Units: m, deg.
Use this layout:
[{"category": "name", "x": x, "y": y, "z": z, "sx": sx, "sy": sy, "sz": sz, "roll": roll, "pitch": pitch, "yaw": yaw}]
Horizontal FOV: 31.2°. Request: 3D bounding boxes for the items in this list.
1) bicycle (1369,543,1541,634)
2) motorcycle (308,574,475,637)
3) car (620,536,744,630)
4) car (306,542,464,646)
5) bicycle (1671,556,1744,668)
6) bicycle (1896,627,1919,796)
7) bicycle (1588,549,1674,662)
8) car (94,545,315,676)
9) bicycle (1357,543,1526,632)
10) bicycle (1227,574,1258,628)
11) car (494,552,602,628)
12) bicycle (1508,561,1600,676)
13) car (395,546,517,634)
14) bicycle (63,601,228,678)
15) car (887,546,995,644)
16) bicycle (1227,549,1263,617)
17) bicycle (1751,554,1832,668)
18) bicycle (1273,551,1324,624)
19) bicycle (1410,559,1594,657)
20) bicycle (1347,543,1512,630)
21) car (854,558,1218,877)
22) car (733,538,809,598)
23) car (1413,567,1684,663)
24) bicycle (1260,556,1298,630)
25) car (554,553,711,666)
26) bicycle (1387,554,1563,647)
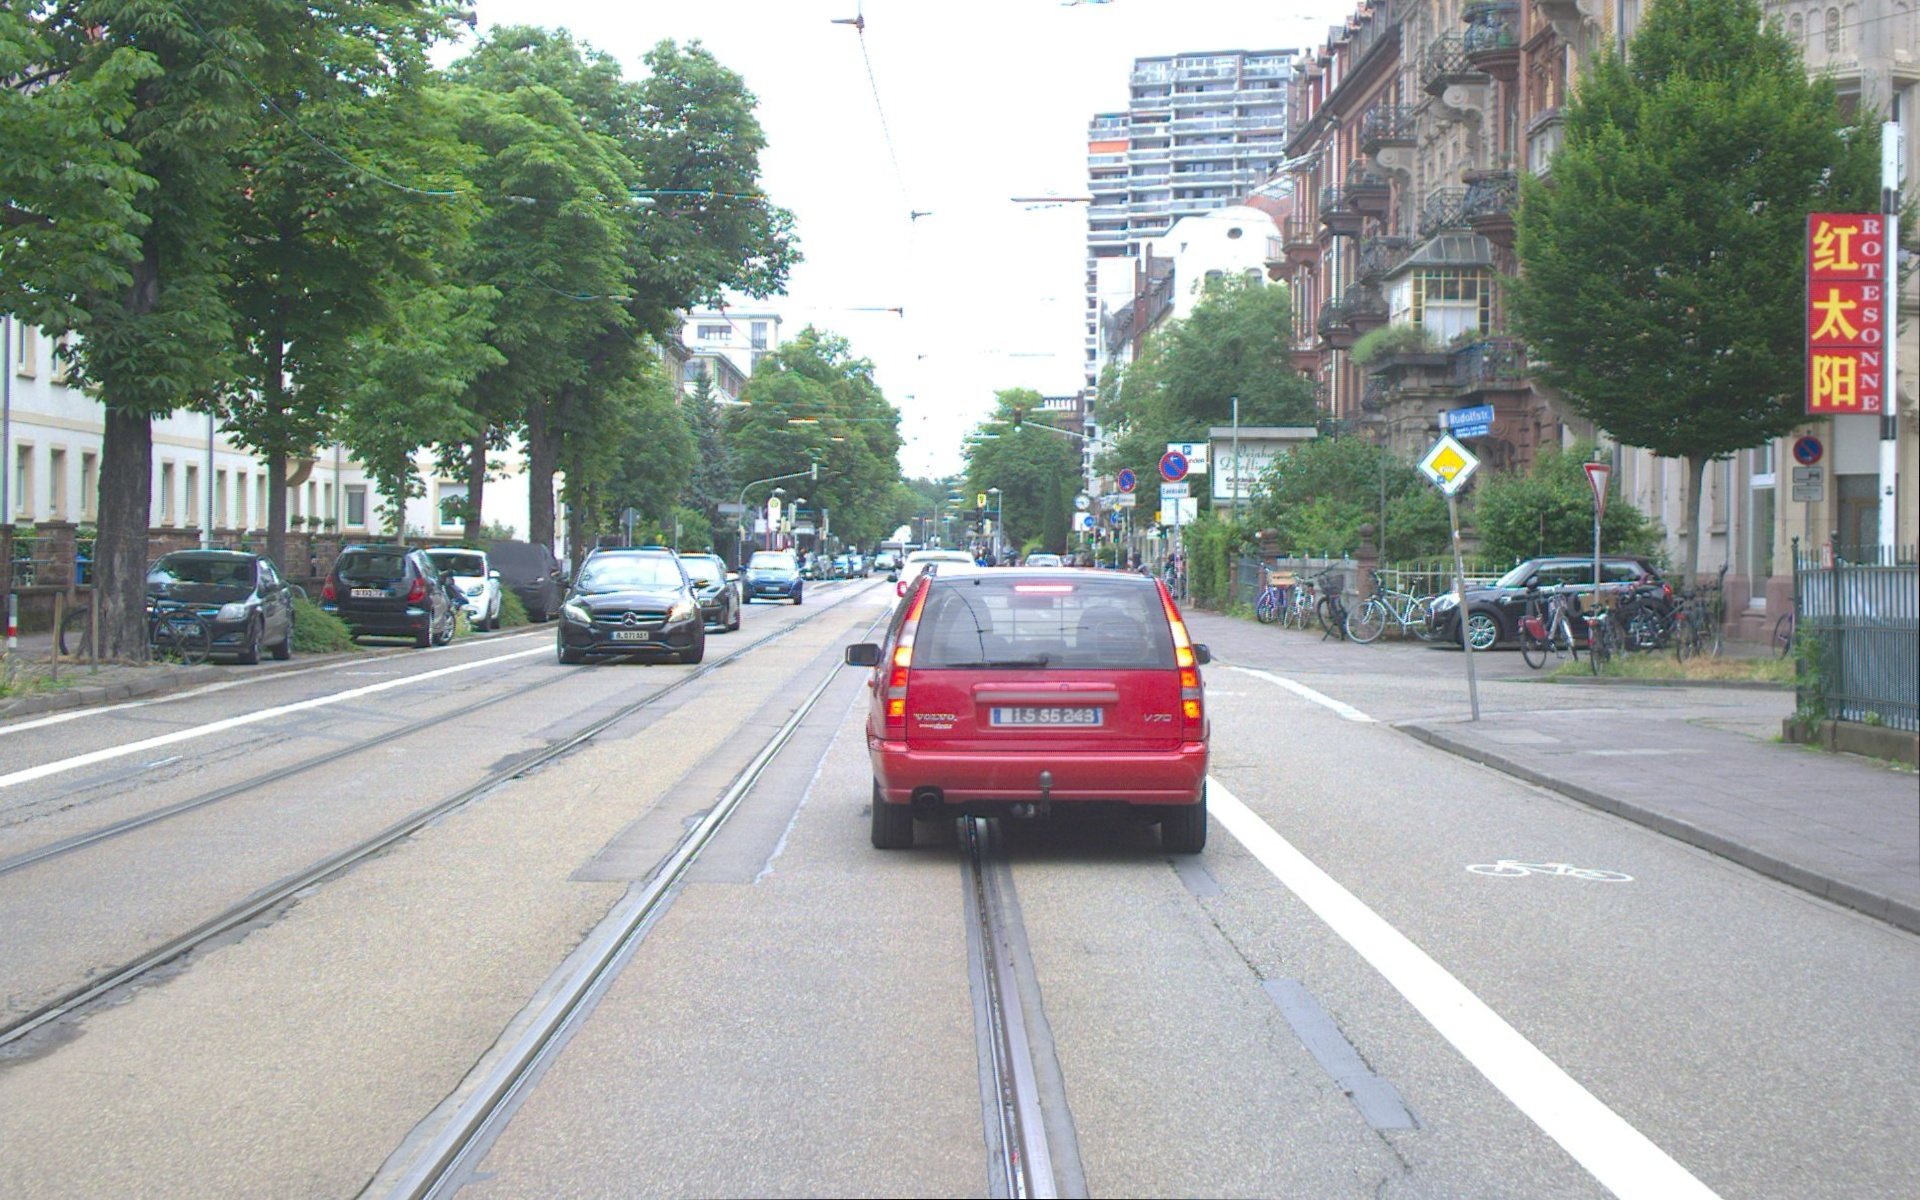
[{"category": "bicycle", "x": 9.167, "y": -0.222, "z": 63.735, "sx": 2.975, "sy": 1.619, "sz": 1.050, "roll": 1, "pitch": 1, "yaw": -2}, {"category": "motorcycle", "x": -10.100, "y": 0.092, "z": 61.211, "sx": 2.869, "sy": 1.073, "sz": 1.100, "roll": 0, "pitch": 1, "yaw": -7}, {"category": "car", "x": -4.993, "y": -0.344, "z": 62.260, "sx": 1.894, "sy": 1.605, "sz": 4.500, "roll": 1, "pitch": 1, "yaw": -1}, {"category": "car", "x": -9.129, "y": -0.122, "z": 54.846, "sx": 1.851, "sy": 1.558, "sz": 3.943, "roll": 1, "pitch": 1, "yaw": 0}, {"category": "bicycle", "x": 10.384, "y": 0.151, "z": 47.707, "sx": 0.790, "sy": 1.502, "sz": 2.379, "roll": 1, "pitch": 1, "yaw": 17}, {"category": "bicycle", "x": 6.174, "y": 0.702, "z": 20.564, "sx": 0.523, "sy": 1.027, "sz": 2.176, "roll": 1, "pitch": 1, "yaw": -1}, {"category": "bicycle", "x": 9.344, "y": 0.059, "z": 47.798, "sx": 0.918, "sy": 1.502, "sz": 2.379, "roll": 1, "pitch": 1, "yaw": 17}, {"category": "car", "x": -9.118, "y": 0.092, "z": 41.771, "sx": 1.718, "sy": 1.477, "sz": 4.000, "roll": 1, "pitch": 1, "yaw": 1}, {"category": "bicycle", "x": 9.077, "y": -0.244, "z": 64.898, "sx": 2.975, "sy": 1.619, "sz": 1.050, "roll": 1, "pitch": 1, "yaw": -2}, {"category": "bicycle", "x": 5.912, "y": 0.013, "z": 72.095, "sx": 0.490, "sy": 1.095, "sz": 1.734, "roll": 1, "pitch": 1, "yaw": 0}, {"category": "car", "x": -8.431, "y": -0.223, "z": 70.611, "sx": 1.720, "sy": 1.481, "sz": 4.000, "roll": 1, "pitch": 1, "yaw": 0}, {"category": "bicycle", "x": 8.066, "y": 0.227, "z": 46.611, "sx": 0.918, "sy": 1.501, "sz": 2.379, "roll": 2, "pitch": 1, "yaw": 17}, {"category": "car", "x": -9.668, "y": -0.221, "z": 66.215, "sx": 1.713, "sy": 1.575, "sz": 4.000, "roll": 2, "pitch": 1, "yaw": 0}, {"category": "bicycle", "x": -9.488, "y": 0.457, "z": 40.092, "sx": 1.749, "sy": 0.841, "sz": 0.684, "roll": 1, "pitch": 1, "yaw": 1}, {"category": "car", "x": -0.301, "y": -0.115, "z": 59.771, "sx": 1.719, "sy": 1.619, "sz": 3.941, "roll": 1, "pitch": 1, "yaw": 2}, {"category": "bicycle", "x": 6.281, "y": -0.398, "z": 75.838, "sx": 0.555, "sy": 1.453, "sz": 2.985, "roll": 1, "pitch": 1, "yaw": 1}, {"category": "bicycle", "x": 11.383, "y": 0.137, "z": 47.009, "sx": 0.918, "sy": 1.502, "sz": 2.379, "roll": 1, "pitch": 1, "yaw": 17}, {"category": "bicycle", "x": 6.155, "y": -0.242, "z": 62.563, "sx": 0.708, "sy": 1.296, "sz": 1.904, "roll": 1, "pitch": 1, "yaw": 0}, {"category": "bicycle", "x": 9.394, "y": 0.130, "z": 59.670, "sx": 2.975, "sy": 1.619, "sz": 1.050, "roll": 1, "pitch": 1, "yaw": -2}, {"category": "bicycle", "x": 9.038, "y": -0.267, "z": 66.212, "sx": 2.975, "sy": 1.619, "sz": 1.050, "roll": 1, "pitch": 1, "yaw": -2}, {"category": "car", "x": 0.342, "y": 0.529, "z": 17.983, "sx": 1.689, "sy": 1.436, "sz": 3.743, "roll": 1, "pitch": 1, "yaw": 0}, {"category": "car", "x": -5.394, "y": -0.933, "z": 98.347, "sx": 1.894, "sy": 1.605, "sz": 4.500, "roll": 2, "pitch": 1, "yaw": 0}, {"category": "car", "x": 8.962, "y": 0.213, "z": 52.385, "sx": 3.988, "sy": 1.357, "sz": 1.891, "roll": 1, "pitch": 1, "yaw": 10}, {"category": "bicycle", "x": 6.138, "y": -0.140, "z": 66.239, "sx": 0.551, "sy": 1.395, "sz": 1.734, "roll": 1, "pitch": 1, "yaw": 0}, {"category": "car", "x": -4.257, "y": 0.097, "z": 45.177, "sx": 1.755, "sy": 1.375, "sz": 4.027, "roll": 1, "pitch": 1, "yaw": -1}, {"category": "bicycle", "x": 9.322, "y": 0.001, "z": 62.307, "sx": 2.975, "sy": 1.619, "sz": 1.050, "roll": 1, "pitch": 1, "yaw": -2}]
